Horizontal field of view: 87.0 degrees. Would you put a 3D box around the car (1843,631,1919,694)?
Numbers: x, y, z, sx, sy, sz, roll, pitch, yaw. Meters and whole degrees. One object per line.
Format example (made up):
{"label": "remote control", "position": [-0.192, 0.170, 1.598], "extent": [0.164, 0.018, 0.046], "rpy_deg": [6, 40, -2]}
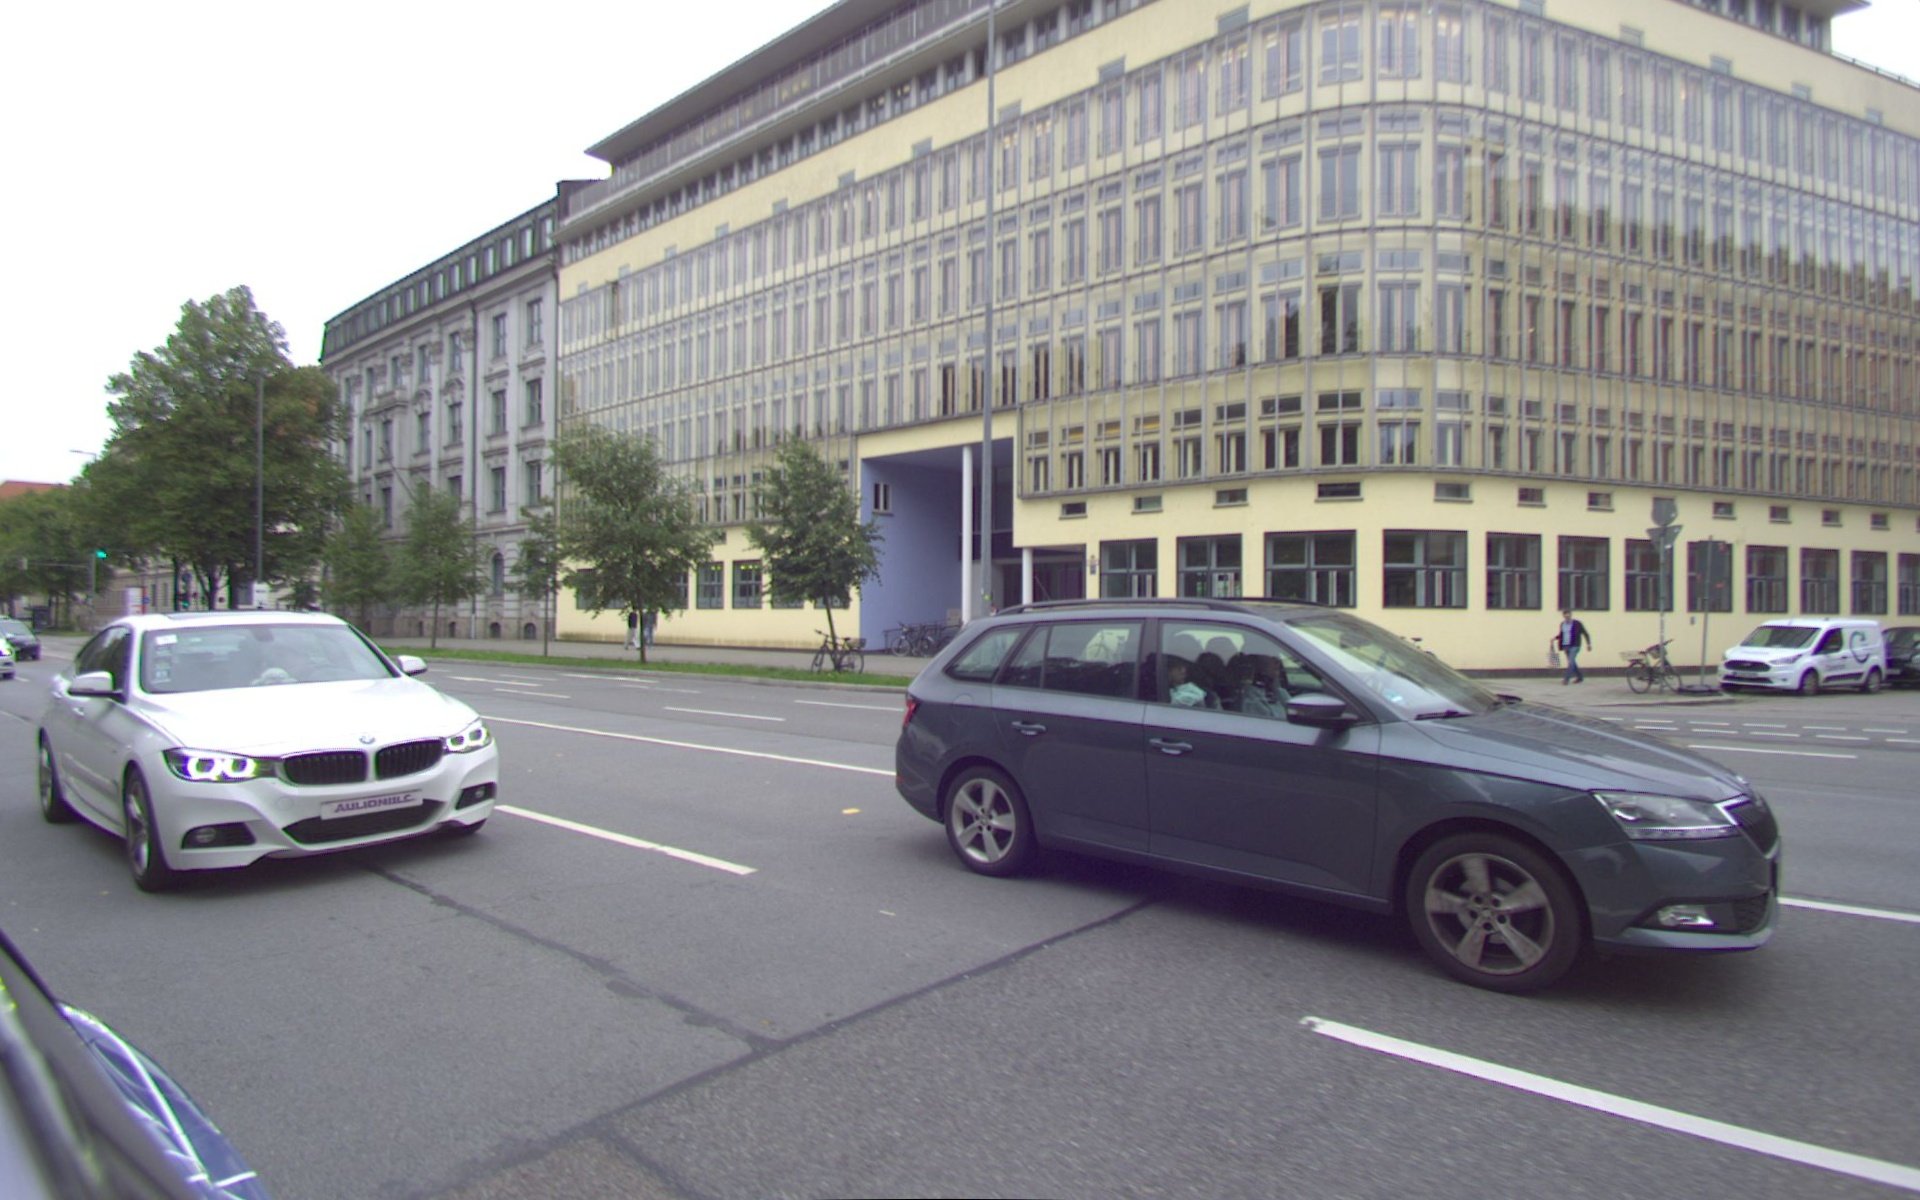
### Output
{"label": "car", "position": [24.121, 1.512, 25.158], "extent": [3.607, 1.468, 1.748], "rpy_deg": [1, -2, -21]}

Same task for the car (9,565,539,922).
{"label": "car", "position": [-4.993, 0.692, 7.002], "extent": [5.023, 1.649, 1.774], "rpy_deg": [-1, -1, 41]}

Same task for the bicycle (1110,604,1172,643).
{"label": "bicycle", "position": [4.934, 0.642, 27.622], "extent": [1.591, 1.020, 0.567], "rpy_deg": [-1, 0, 38]}

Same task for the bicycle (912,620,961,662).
{"label": "bicycle", "position": [-0.763, 1.356, 34.101], "extent": [0.573, 1.328, 1.990], "rpy_deg": [-1, 0, 35]}

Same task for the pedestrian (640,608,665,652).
{"label": "pedestrian", "position": [-12.657, 1.240, 41.663], "extent": [0.835, 1.790, 0.609], "rpy_deg": [-1, 0, 41]}

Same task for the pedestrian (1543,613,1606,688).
{"label": "pedestrian", "position": [14.737, 1.187, 24.283], "extent": [0.978, 1.746, 0.817], "rpy_deg": [-1, 0, -18]}

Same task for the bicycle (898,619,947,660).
{"label": "bicycle", "position": [-1.264, 1.323, 34.448], "extent": [0.573, 1.328, 1.990], "rpy_deg": [-1, 0, 35]}

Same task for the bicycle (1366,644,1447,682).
{"label": "bicycle", "position": [10.663, 1.495, 24.179], "extent": [1.710, 0.884, 0.587], "rpy_deg": [0, -2, -7]}

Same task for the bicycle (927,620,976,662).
{"label": "bicycle", "position": [-0.252, 1.340, 33.741], "extent": [0.573, 1.328, 1.990], "rpy_deg": [-1, 0, 35]}

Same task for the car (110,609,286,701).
{"label": "car", "position": [-14.212, 0.951, 18.791], "extent": [4.335, 1.528, 1.674], "rpy_deg": [-1, -2, 40]}

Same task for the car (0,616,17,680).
{"label": "car", "position": [-24.069, 1.101, 24.175], "extent": [4.272, 1.458, 1.774], "rpy_deg": [-1, -1, 41]}

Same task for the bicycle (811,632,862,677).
{"label": "bicycle", "position": [-2.901, 1.275, 23.746], "extent": [1.382, 1.020, 0.278], "rpy_deg": [-1, 0, 38]}

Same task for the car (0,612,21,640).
{"label": "car", "position": [-62.177, 1.669, 65.319], "extent": [4.628, 1.762, 1.837], "rpy_deg": [-1, -3, 42]}

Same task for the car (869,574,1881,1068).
{"label": "car", "position": [1.672, 0.680, 5.076], "extent": [4.272, 1.458, 1.774], "rpy_deg": [-1, -1, 41]}

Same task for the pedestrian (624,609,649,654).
{"label": "pedestrian", "position": [-13.182, 1.282, 41.222], "extent": [0.835, 1.790, 0.609], "rpy_deg": [-1, 0, 41]}

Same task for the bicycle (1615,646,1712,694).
{"label": "bicycle", "position": [15.663, 1.554, 22.544], "extent": [1.817, 1.028, 0.587], "rpy_deg": [0, -2, -7]}

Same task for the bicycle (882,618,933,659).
{"label": "bicycle", "position": [-1.789, 1.316, 34.882], "extent": [0.637, 1.328, 1.990], "rpy_deg": [-1, 0, 35]}

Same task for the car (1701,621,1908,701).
{"label": "car", "position": [20.022, 1.387, 24.012], "extent": [4.254, 1.763, 1.876], "rpy_deg": [1, -2, -21]}
